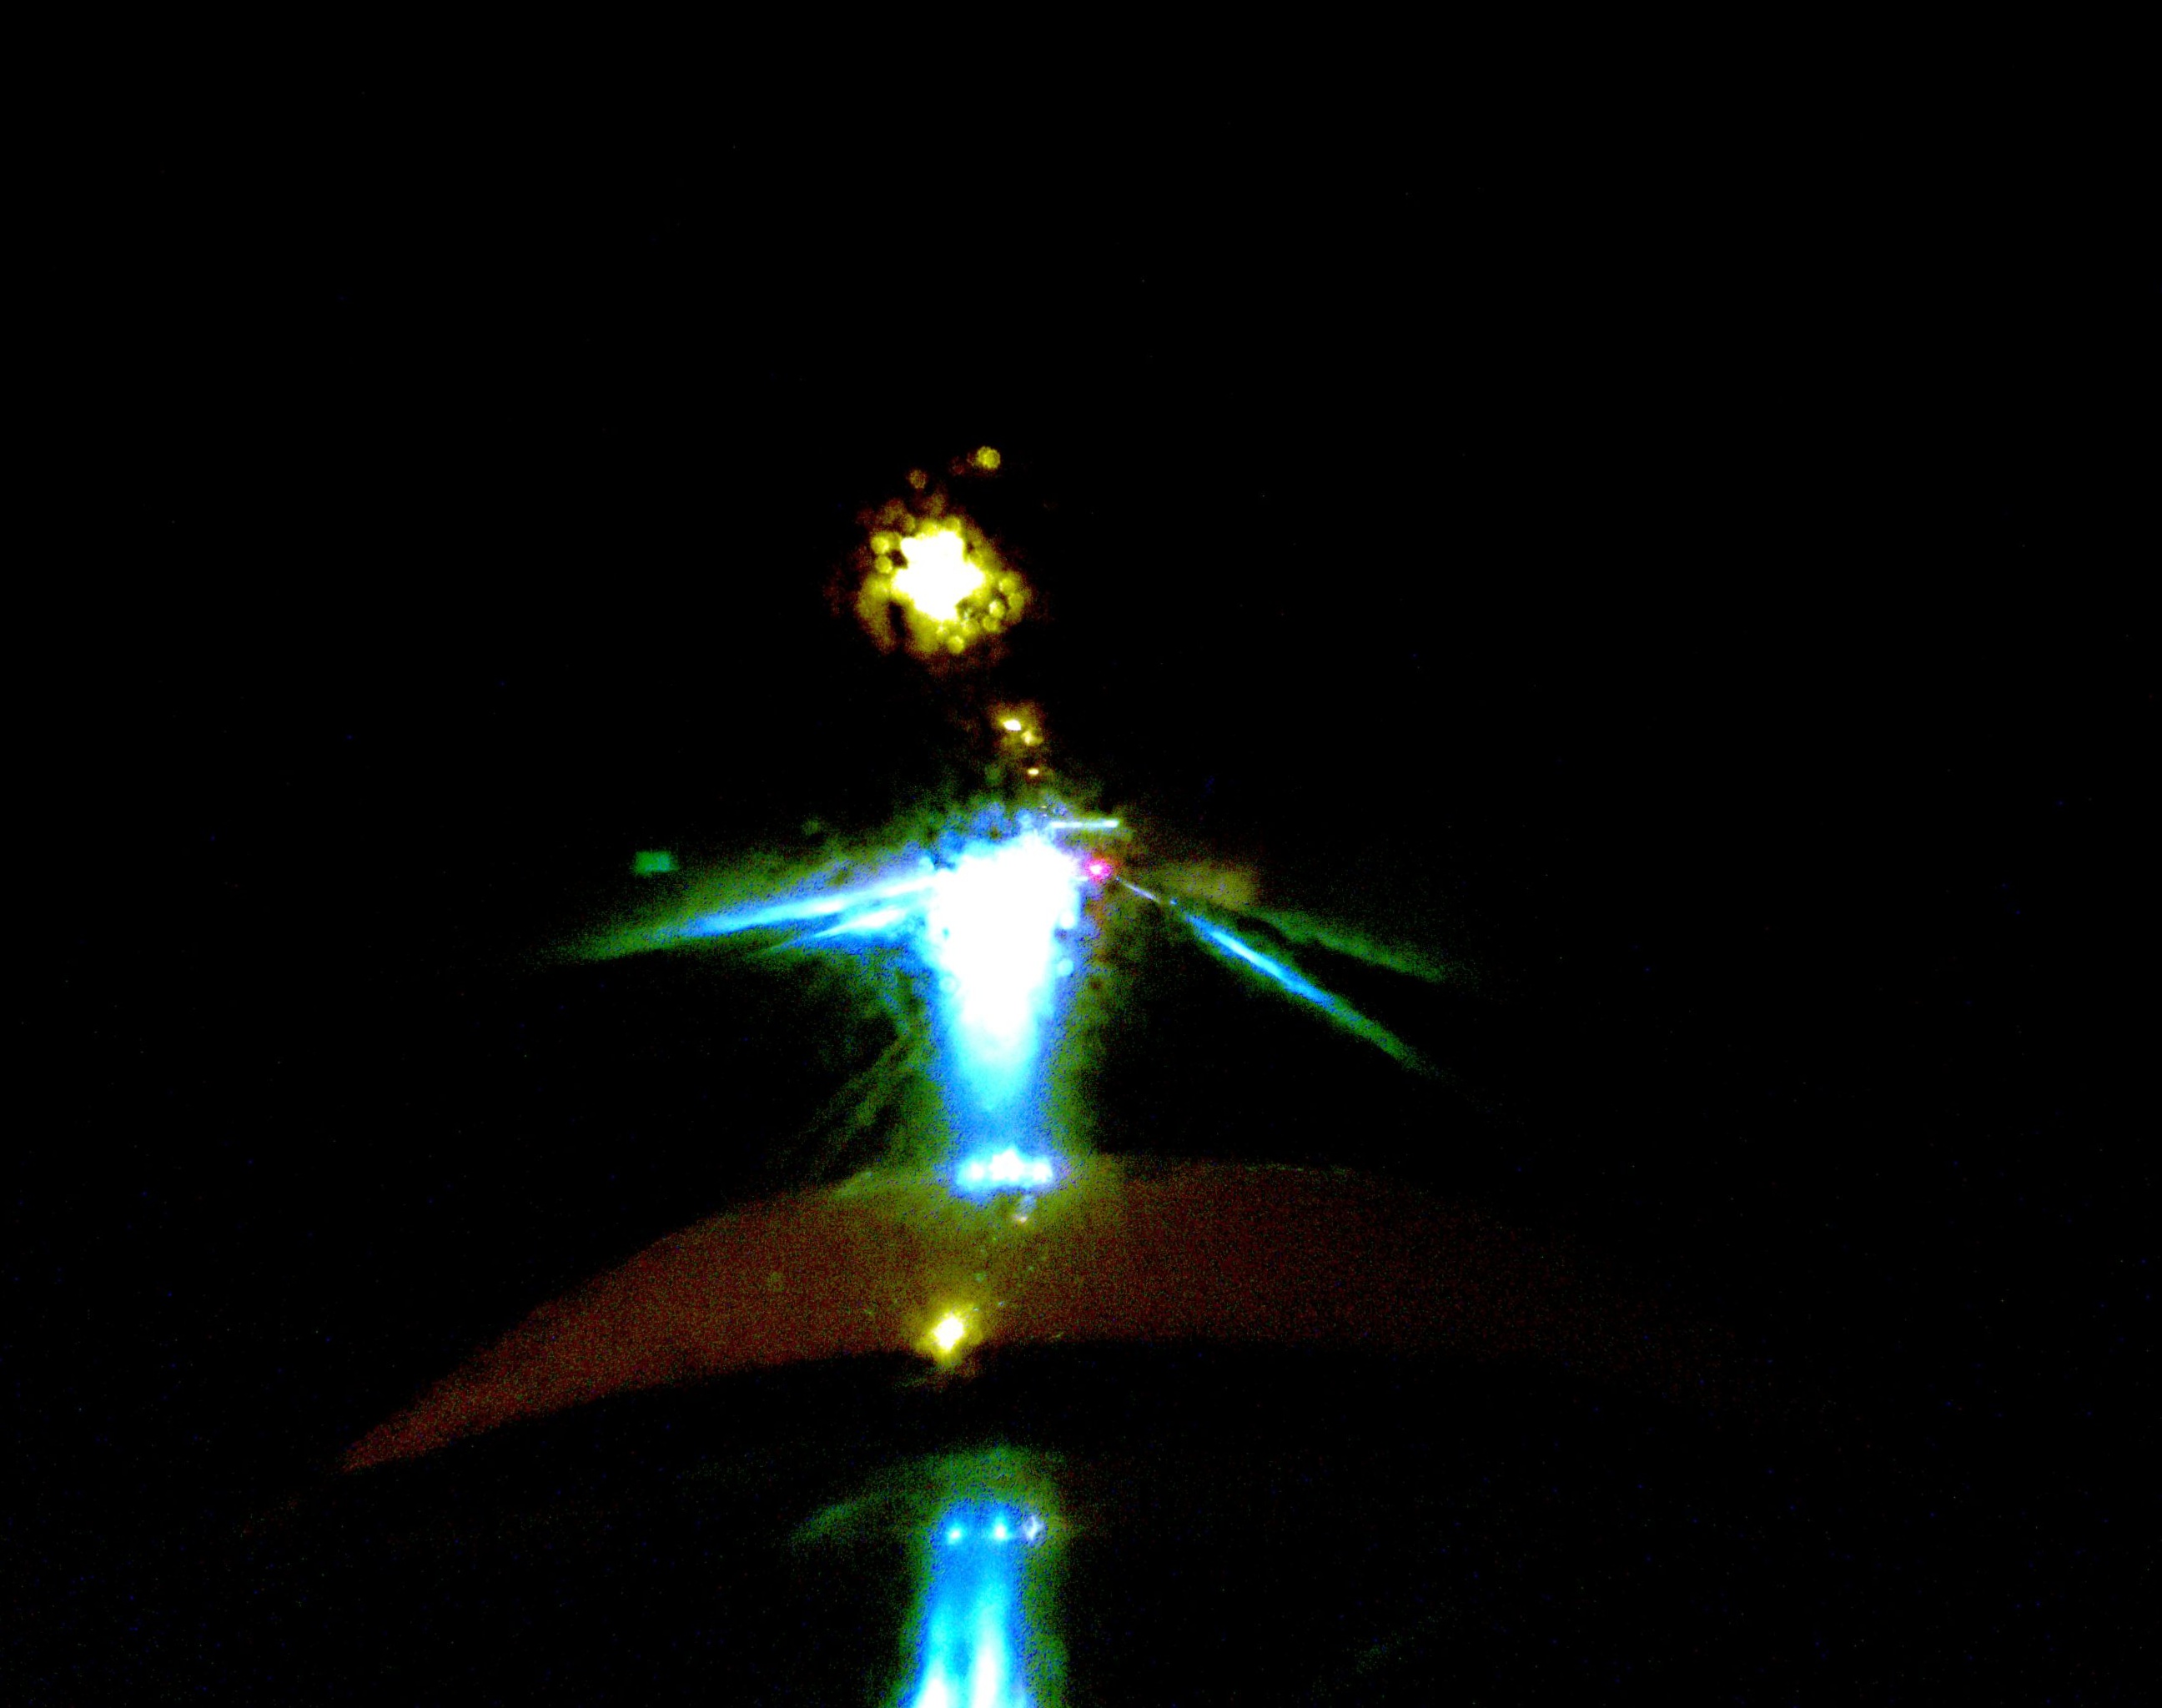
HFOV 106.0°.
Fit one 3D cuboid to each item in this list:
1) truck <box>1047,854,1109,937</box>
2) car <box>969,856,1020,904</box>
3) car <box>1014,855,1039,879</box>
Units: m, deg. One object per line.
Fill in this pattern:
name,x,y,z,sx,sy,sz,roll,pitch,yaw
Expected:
truck,-0.148,1.523,33.476,2.255,3.011,7.412,0,0,-1
car,-3.029,0.864,29.100,1.618,1.517,4.131,-2,0,-4
car,-3.619,0.824,54.672,1.579,1.537,3.172,1,0,-3
